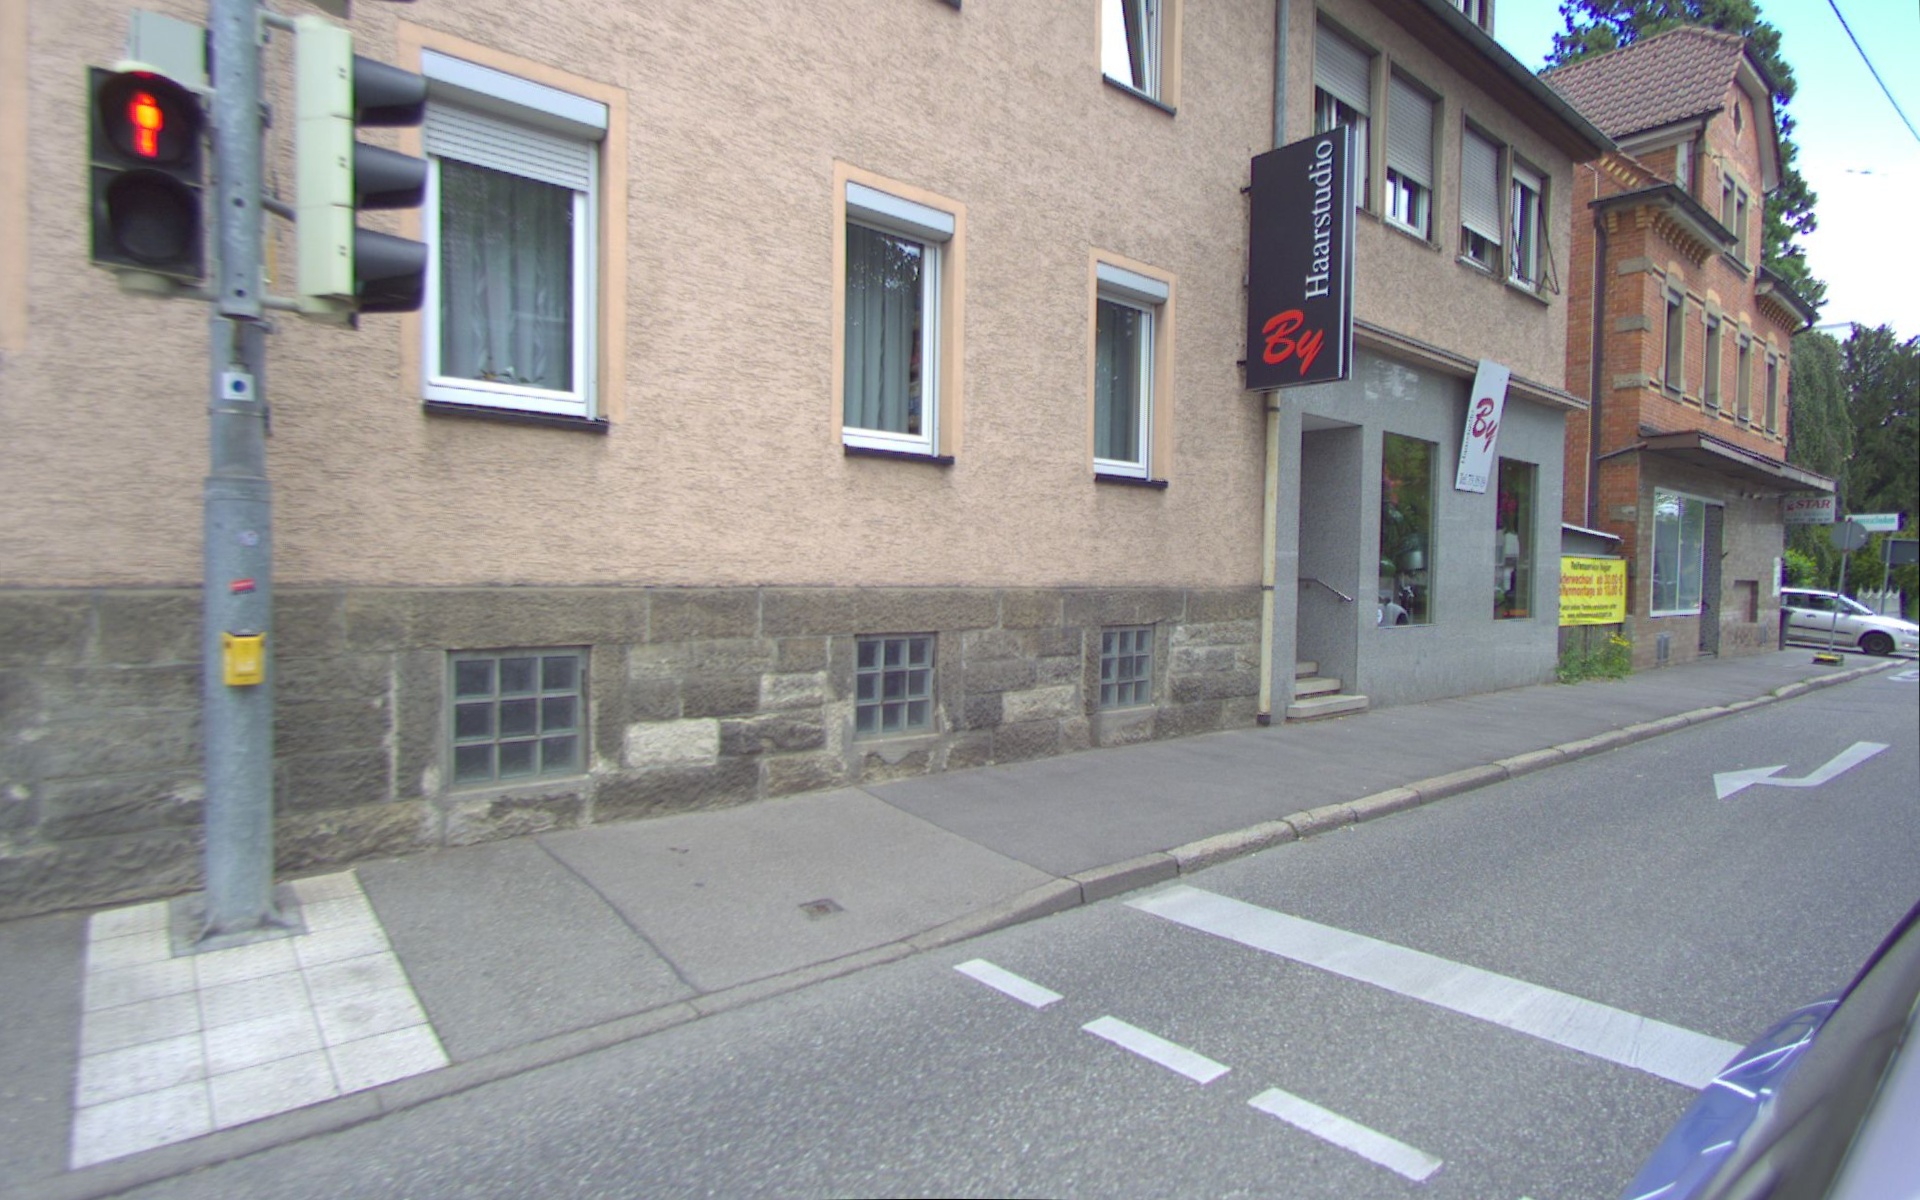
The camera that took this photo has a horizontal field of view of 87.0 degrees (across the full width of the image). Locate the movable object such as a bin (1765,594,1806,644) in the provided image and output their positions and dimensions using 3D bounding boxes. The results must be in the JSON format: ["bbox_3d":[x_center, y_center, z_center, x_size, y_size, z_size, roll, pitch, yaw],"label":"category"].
[{"bbox_3d":[19.670,0.445,24.118,0.611,1.114,0.608,-1,4,-40],"label":"movable object such as a bin"}]

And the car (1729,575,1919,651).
[{"bbox_3d":[22.269,0.273,25.720,1.574,1.487,4.038,-1,7,-42],"label":"car"}]
